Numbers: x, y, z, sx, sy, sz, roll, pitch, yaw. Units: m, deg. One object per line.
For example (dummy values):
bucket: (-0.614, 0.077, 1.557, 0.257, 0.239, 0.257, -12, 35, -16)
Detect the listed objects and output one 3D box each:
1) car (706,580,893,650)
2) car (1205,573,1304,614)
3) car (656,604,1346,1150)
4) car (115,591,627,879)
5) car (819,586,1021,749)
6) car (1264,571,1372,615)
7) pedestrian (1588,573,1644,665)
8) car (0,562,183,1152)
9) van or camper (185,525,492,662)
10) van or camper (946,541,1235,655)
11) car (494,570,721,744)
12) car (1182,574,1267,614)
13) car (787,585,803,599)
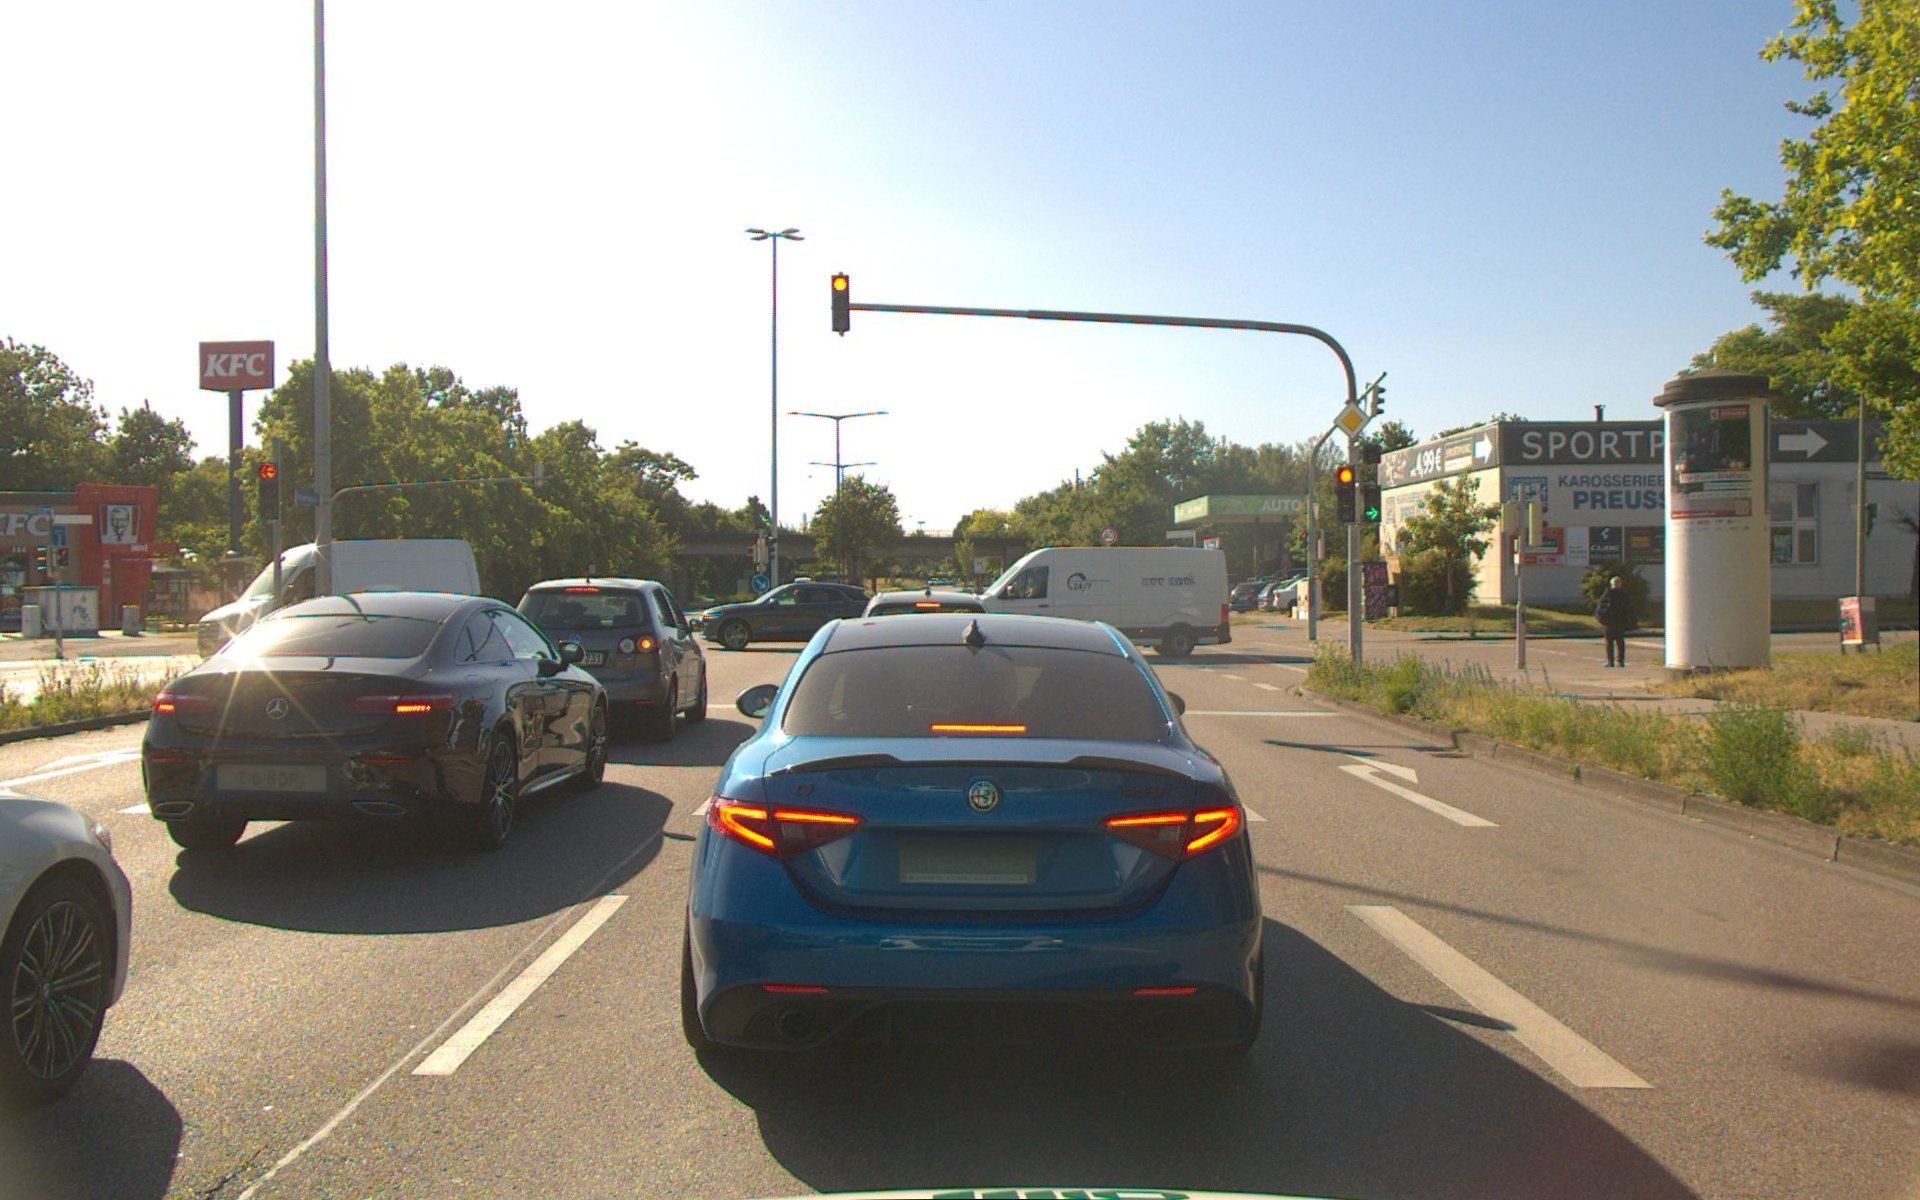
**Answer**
car: (-4.059, 0.356, 41.514, 4.518, 1.682, 1.994, 0, 0, -12)
car: (12.673, -0.274, 71.156, 3.928, 1.736, 1.686, 0, 0, -20)
car: (0.084, 0.744, 6.368, 1.828, 1.409, 3.931, 0, 0, -1)
car: (-3.414, 0.666, 10.573, 1.732, 1.439, 4.460, 0, 0, -1)
car: (-0.392, 0.605, 17.058, 1.828, 1.475, 3.931, 0, 0, -1)
car: (14.346, -0.284, 66.326, 3.923, 1.736, 1.687, 0, 0, -17)
pedestrian: (12.670, 0.354, 31.945, 0.805, 1.752, 0.854, 0, 0, 6)
car: (-3.349, 0.680, 3.099, 1.732, 1.535, 4.460, 0, 0, -1)
van or camper: (-13.164, -0.155, 35.396, 1.966, 2.697, 5.916, 0, 0, 44)
van or camper: (3.037, -0.058, 39.391, 6.599, 2.617, 2.183, 0, 0, -5)
car: (-3.588, 0.519, 17.484, 1.615, 1.626, 3.931, 0, 0, -1)
car: (11.878, -0.269, 74.334, 3.428, 1.736, 1.688, 0, 0, -16)
car: (-20.327, -1.007, 204.267, 1.786, 1.723, 3.834, 0, 0, -4)
